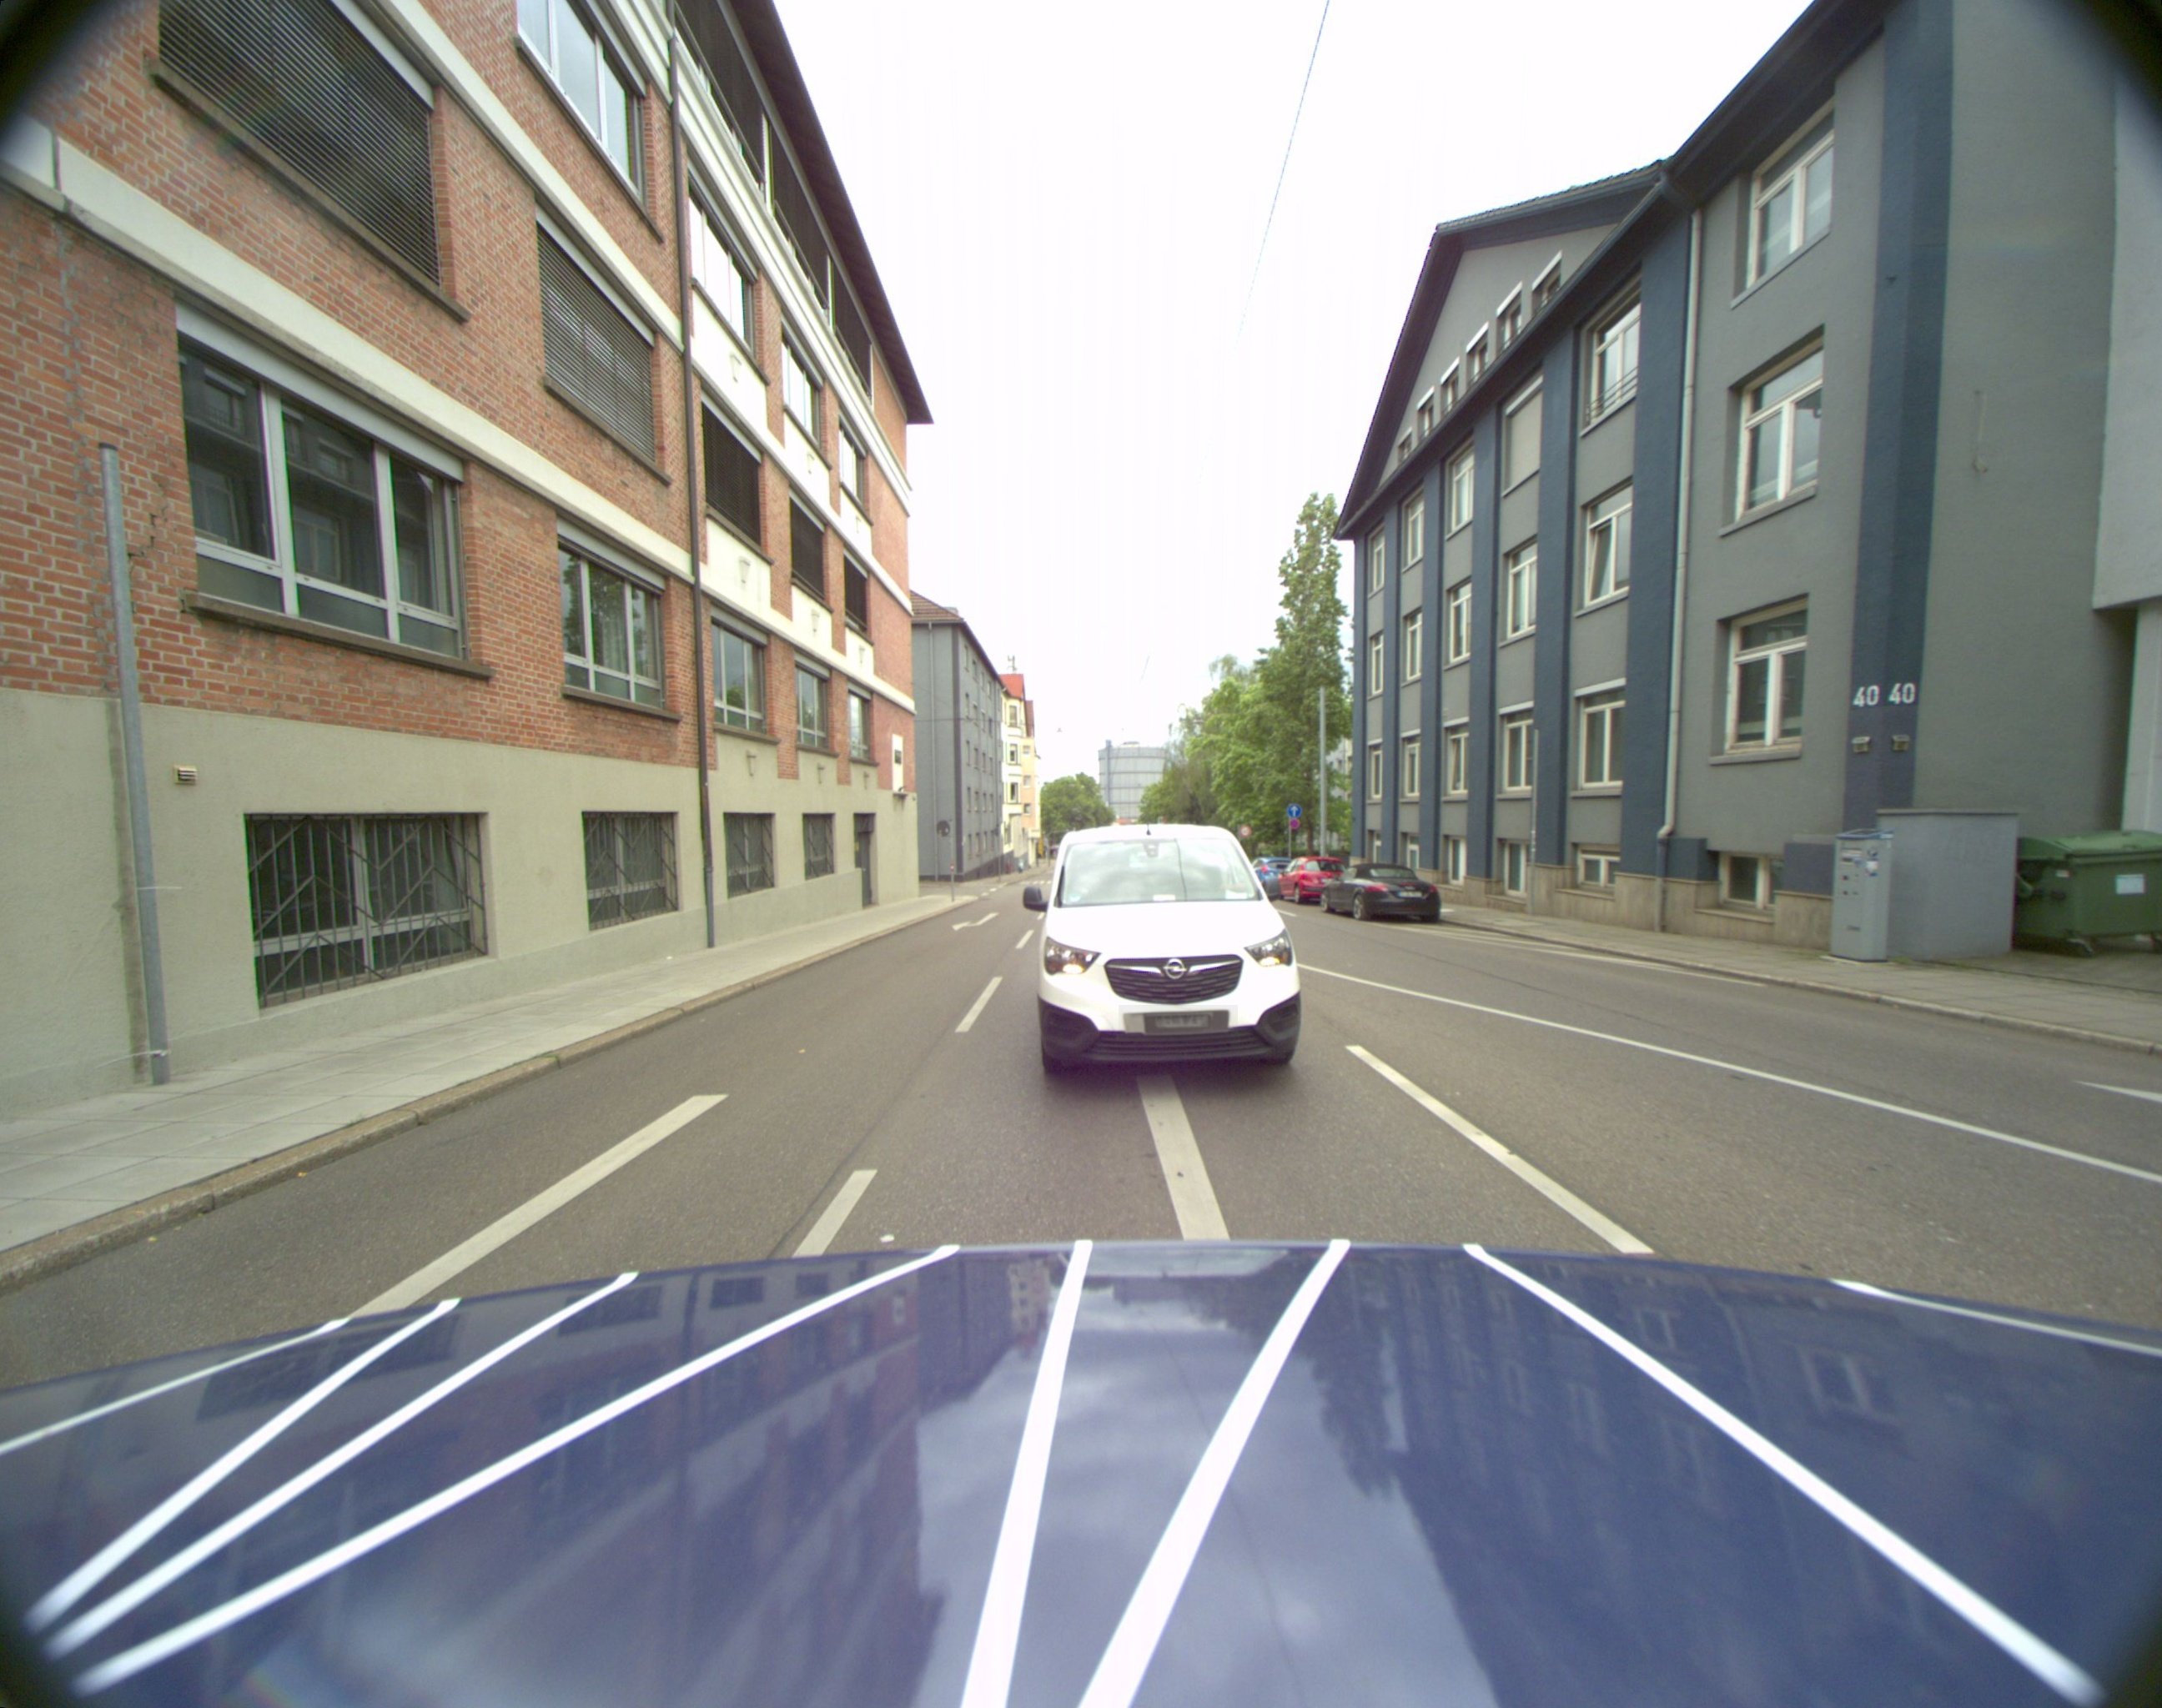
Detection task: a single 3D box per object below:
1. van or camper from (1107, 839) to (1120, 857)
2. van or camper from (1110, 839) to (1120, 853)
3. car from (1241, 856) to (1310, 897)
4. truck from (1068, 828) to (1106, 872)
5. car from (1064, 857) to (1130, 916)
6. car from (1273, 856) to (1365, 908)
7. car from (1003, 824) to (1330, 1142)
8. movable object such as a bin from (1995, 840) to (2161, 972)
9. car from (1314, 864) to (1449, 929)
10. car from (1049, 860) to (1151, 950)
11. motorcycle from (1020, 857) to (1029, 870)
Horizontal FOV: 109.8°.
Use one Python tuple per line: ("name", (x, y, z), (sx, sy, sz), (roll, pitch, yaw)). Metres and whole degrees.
("van or camper", (5.159, -1.005, 119.932), (1.914, 2.754, 5.925), (1, 0, 2))
("van or camper", (6.696, -1.536, 149.782), (1.914, 2.754, 5.925), (1, 0, 2))
("car", (7.547, 0.832, 29.773), (1.724, 1.445, 3.727), (1, 0, 0))
("truck", (0.580, -0.318, 65.780), (2.980, 3.394, 9.358), (-2, 0, 1))
("car", (0.472, 0.862, 21.677), (1.724, 1.486, 3.727), (1, 0, 2))
("car", (7.502, 0.839, 24.309), (1.819, 1.465, 3.869), (2, 0, 2))
("car", (0.549, 0.751, 6.914), (1.840, 1.797, 4.939), (-2, 0, 1))
("movable object such as a bin", (12.096, 0.594, 9.110), (1.267, 1.448, 0.784), (-3, 2, 4))
("car", (7.177, 0.947, 18.605), (1.724, 1.319, 4.041), (2, 0, 1))
("car", (0.376, 0.881, 14.766), (1.724, 1.486, 3.727), (1, 0, 2))
("motorcycle", (-5.070, 0.841, 68.476), (0.566, 1.105, 1.653), (4, 0, 2))
